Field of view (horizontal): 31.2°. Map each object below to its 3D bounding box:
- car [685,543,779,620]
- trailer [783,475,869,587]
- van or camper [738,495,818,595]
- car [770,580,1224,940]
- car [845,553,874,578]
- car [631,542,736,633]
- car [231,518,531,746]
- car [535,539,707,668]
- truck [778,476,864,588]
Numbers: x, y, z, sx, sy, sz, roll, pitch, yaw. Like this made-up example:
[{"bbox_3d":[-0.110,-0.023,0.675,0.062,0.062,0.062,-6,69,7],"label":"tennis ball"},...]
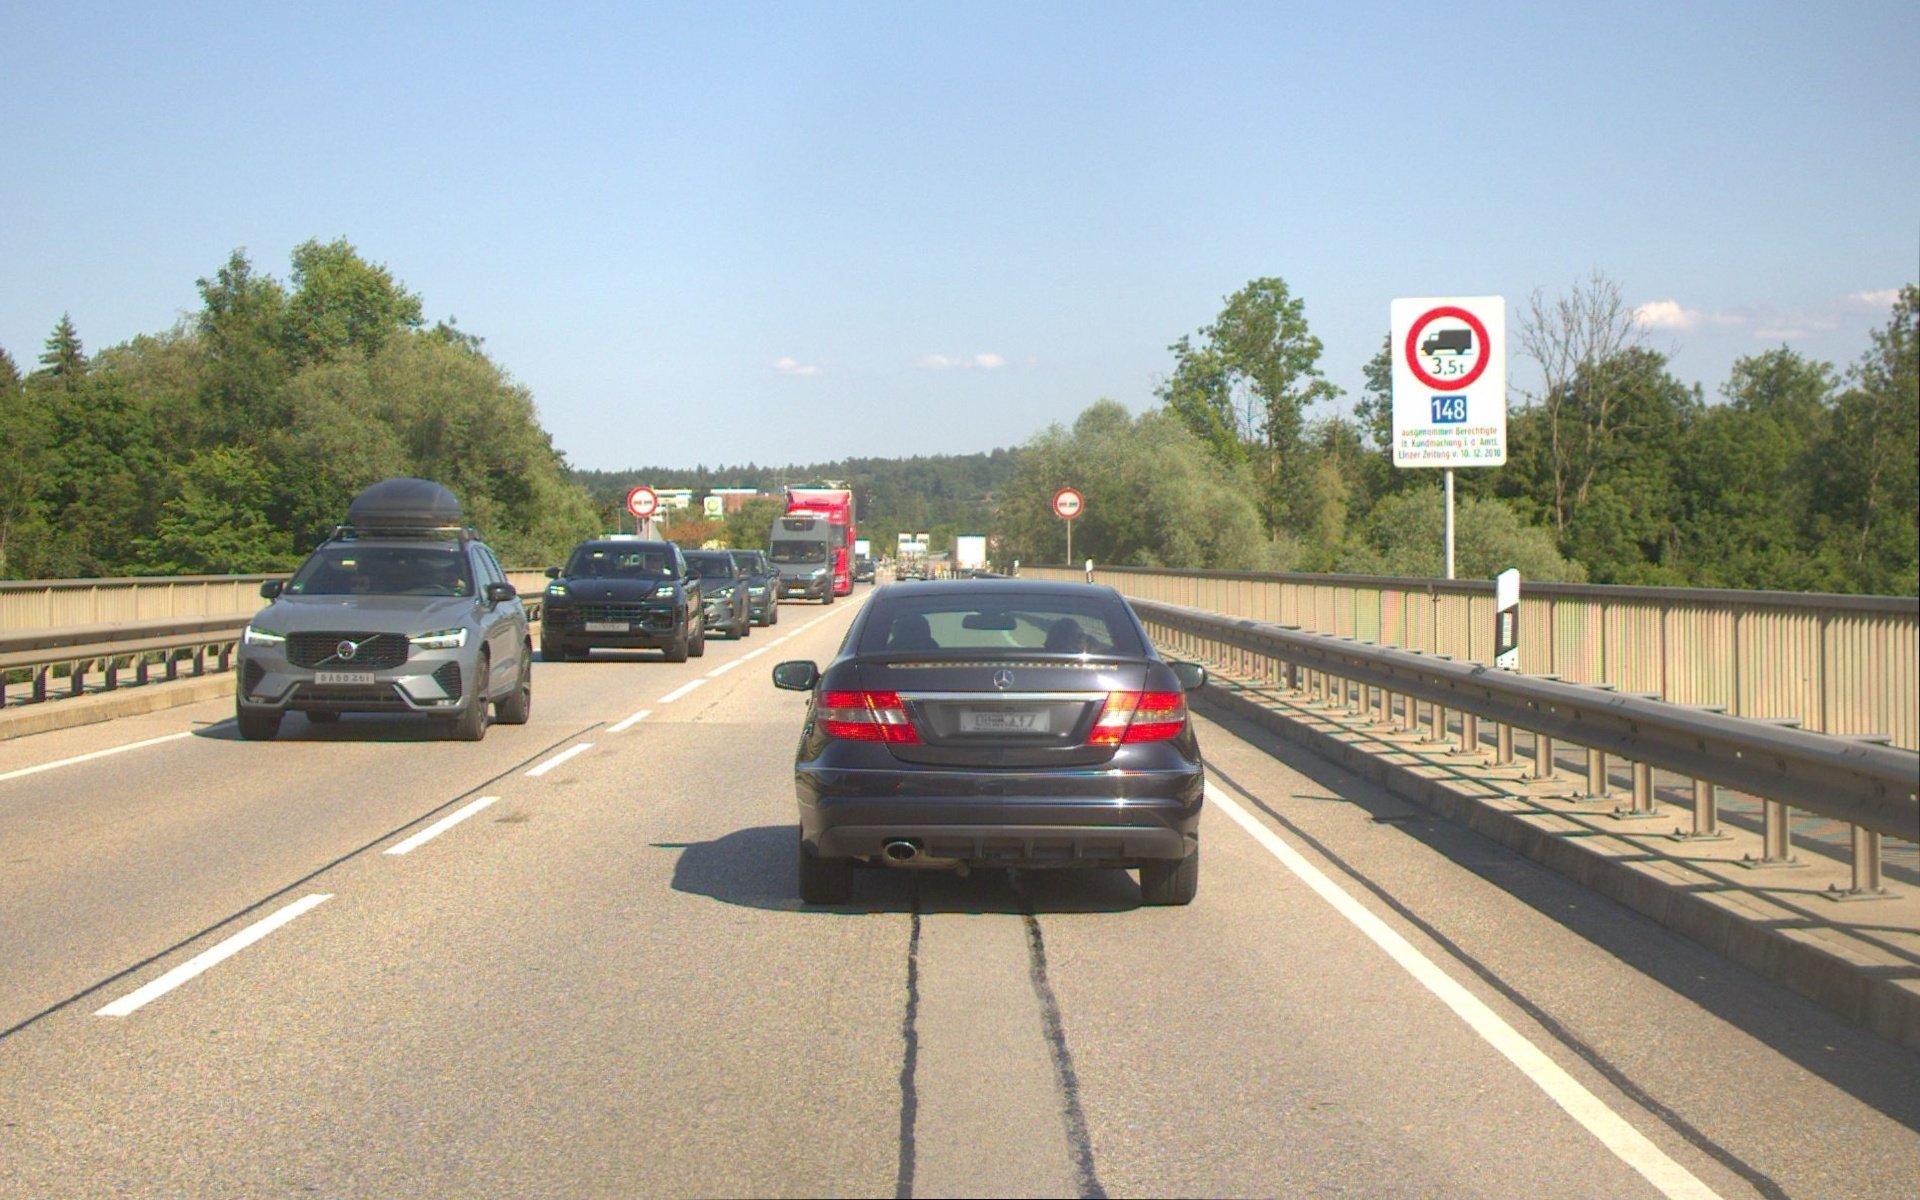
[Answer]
[{"bbox_3d":[-4.844,-0.412,73.513,1.874,1.578,4.274,1,1,-2],"label":"car"},{"bbox_3d":[-5.377,-2.775,140.241,2.907,4.287,14.302,1,1,0],"label":"trailer"},{"bbox_3d":[-5.701,-1.729,108.427,2.315,3.040,6.818,0,1,-2],"label":"van or camper"},{"bbox_3d":[0.166,0.622,15.622,1.793,1.371,4.000,0,1,1],"label":"car"},{"bbox_3d":[-6.583,-2.275,225.646,1.841,1.636,4.577,0,1,-1],"label":"car"},{"bbox_3d":[-4.947,-0.249,61.840,1.806,1.572,4.202,1,1,-4],"label":"car"},{"bbox_3d":[-4.692,0.212,28.442,1.854,1.716,4.566,0,1,-2],"label":"car"},{"bbox_3d":[-4.729,0.005,48.558,2.053,1.647,4.722,2,1,-2],"label":"car"},{"bbox_3d":[-5.296,-2.601,132.086,2.908,4.170,5.713,1,1,1],"label":"truck"}]
